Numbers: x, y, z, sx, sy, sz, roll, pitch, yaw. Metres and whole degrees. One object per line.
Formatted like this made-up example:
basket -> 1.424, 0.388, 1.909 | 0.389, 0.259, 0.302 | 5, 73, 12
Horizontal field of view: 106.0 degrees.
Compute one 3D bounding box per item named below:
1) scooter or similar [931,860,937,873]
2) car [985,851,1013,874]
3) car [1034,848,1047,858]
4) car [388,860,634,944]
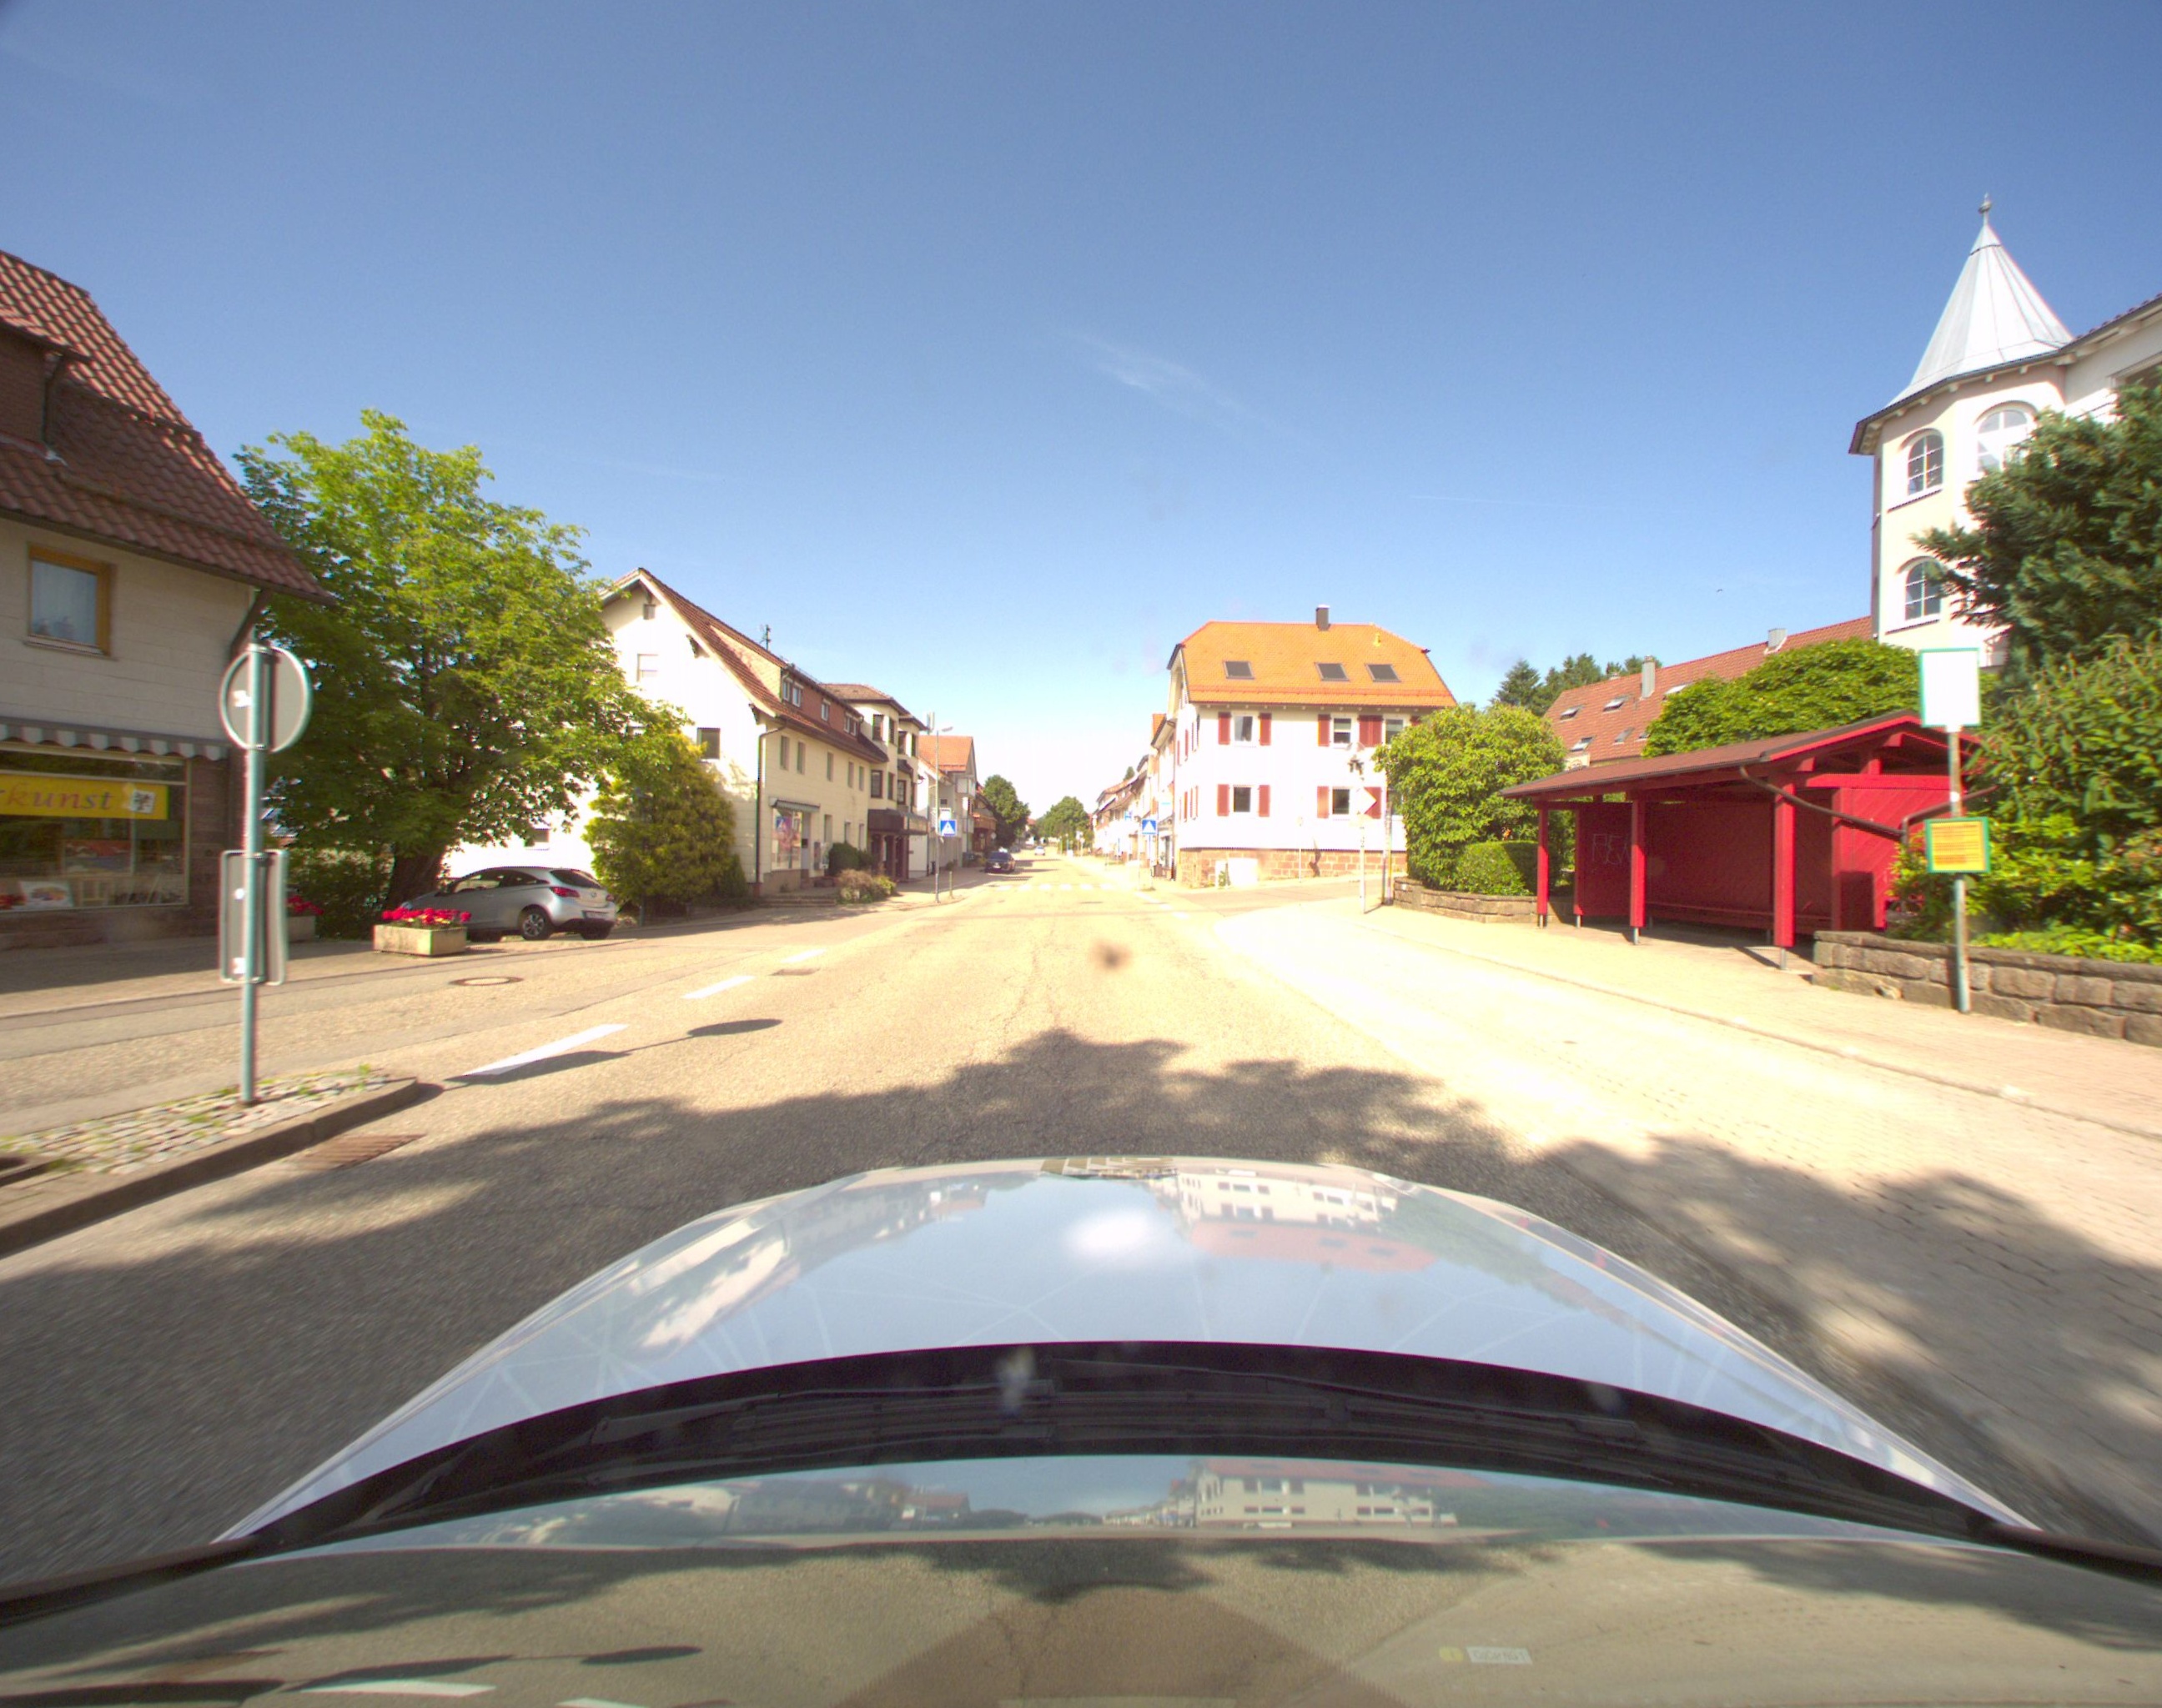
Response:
scooter or similar -> -10.171, 0.879, 56.163 | 0.351, 0.890, 0.394 | -2, 0, -7
car -> -6.184, 0.625, 61.628 | 1.667, 1.533, 3.534 | 4, 0, 0
car -> -8.002, -0.209, 161.708 | 2.490, 2.013, 4.300 | -2, 0, -3
car -> -11.149, 0.986, 16.049 | 3.734, 1.455, 1.823 | -2, -5, 11
